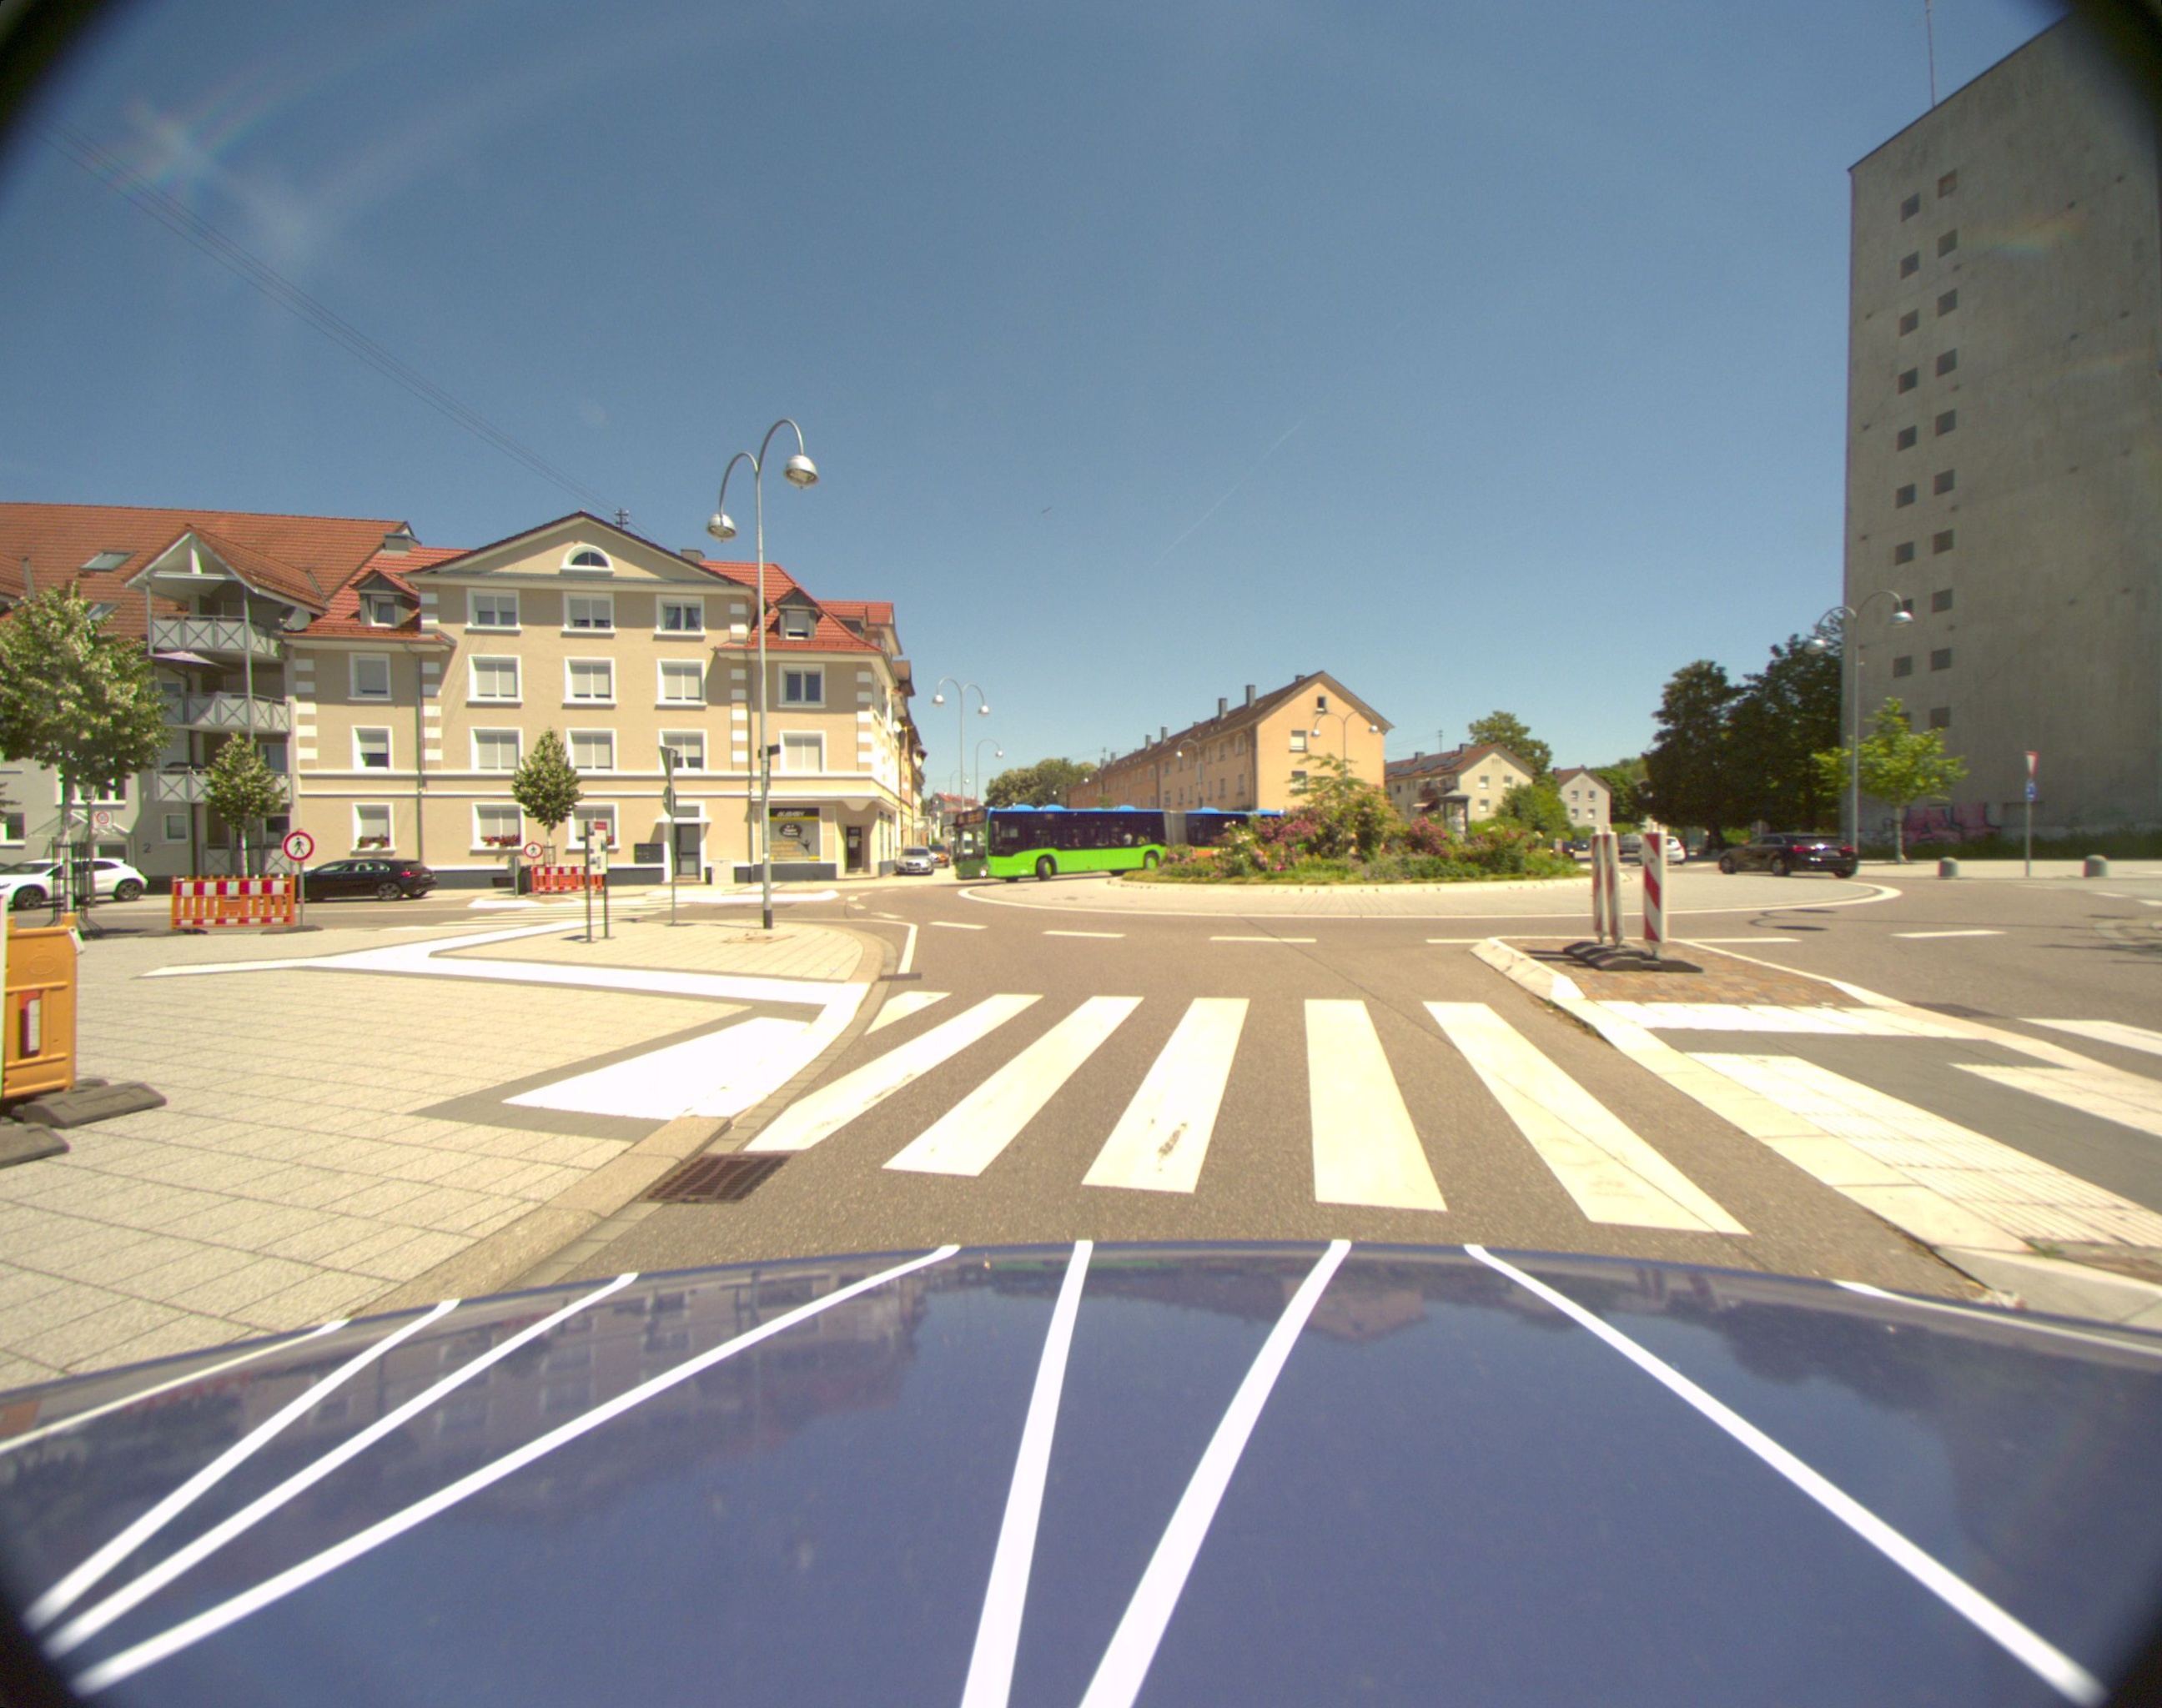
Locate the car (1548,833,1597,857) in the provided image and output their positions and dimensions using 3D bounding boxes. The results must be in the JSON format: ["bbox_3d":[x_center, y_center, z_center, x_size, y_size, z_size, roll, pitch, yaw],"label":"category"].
[{"bbox_3d":[35.681,-0.668,55.142,3.943,1.592,1.732,-2,1,-38],"label":"car"}]

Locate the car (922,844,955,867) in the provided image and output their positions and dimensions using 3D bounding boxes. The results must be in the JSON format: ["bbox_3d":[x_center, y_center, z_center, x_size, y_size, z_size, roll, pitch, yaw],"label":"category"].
[{"bbox_3d":[-9.499,0.077,50.992,1.826,1.402,3.997,1,1,-6],"label":"car"}]

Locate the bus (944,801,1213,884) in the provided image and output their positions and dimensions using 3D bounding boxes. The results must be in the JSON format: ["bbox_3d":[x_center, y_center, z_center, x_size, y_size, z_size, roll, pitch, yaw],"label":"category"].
[{"bbox_3d":[0.408,-0.531,33.124,12.585,3.062,2.905,-2,0,-39],"label":"bus"}]

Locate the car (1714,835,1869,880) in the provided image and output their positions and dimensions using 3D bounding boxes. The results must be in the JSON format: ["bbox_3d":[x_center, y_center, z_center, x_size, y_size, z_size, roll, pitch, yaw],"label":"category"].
[{"bbox_3d":[22.667,0.036,24.477,1.729,1.288,4.002,1,2,11],"label":"car"}]

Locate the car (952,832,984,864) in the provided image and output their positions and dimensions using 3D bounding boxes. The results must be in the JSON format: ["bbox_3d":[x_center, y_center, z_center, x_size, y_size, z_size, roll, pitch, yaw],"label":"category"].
[{"bbox_3d":[-9.044,-0.467,61.181,2.342,2.442,5.730,1,0,-7],"label":"car"}]

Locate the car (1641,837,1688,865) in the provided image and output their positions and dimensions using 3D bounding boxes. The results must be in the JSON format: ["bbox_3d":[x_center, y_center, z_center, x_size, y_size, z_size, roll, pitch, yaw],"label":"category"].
[{"bbox_3d":[29.892,-0.146,38.908,1.780,1.348,4.062,0,1,39],"label":"car"}]

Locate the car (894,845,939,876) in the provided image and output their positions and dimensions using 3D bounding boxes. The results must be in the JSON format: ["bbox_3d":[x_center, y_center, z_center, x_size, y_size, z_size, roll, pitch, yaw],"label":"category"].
[{"bbox_3d":[-8.368,0.274,38.924,1.826,1.403,3.996,1,2,-6],"label":"car"}]

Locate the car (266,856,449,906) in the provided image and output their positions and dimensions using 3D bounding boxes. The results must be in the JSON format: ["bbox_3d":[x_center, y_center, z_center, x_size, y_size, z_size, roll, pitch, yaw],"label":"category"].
[{"bbox_3d":[-24.265,0.870,25.683,4.002,1.438,1.896,-1,2,-16],"label":"car"}]

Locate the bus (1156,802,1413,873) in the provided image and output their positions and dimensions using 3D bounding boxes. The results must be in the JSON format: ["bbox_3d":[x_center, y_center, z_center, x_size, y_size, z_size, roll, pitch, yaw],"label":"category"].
[{"bbox_3d":[10.216,-0.848,38.086,12.567,3.044,2.927,-2,0,-14],"label":"bus"}]

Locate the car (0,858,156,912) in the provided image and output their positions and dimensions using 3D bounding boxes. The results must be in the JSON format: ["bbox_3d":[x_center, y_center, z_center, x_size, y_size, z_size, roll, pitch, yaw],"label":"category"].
[{"bbox_3d":[-32.952,0.946,24.248,1.810,1.438,4.244,-1,2,-5],"label":"car"}]
